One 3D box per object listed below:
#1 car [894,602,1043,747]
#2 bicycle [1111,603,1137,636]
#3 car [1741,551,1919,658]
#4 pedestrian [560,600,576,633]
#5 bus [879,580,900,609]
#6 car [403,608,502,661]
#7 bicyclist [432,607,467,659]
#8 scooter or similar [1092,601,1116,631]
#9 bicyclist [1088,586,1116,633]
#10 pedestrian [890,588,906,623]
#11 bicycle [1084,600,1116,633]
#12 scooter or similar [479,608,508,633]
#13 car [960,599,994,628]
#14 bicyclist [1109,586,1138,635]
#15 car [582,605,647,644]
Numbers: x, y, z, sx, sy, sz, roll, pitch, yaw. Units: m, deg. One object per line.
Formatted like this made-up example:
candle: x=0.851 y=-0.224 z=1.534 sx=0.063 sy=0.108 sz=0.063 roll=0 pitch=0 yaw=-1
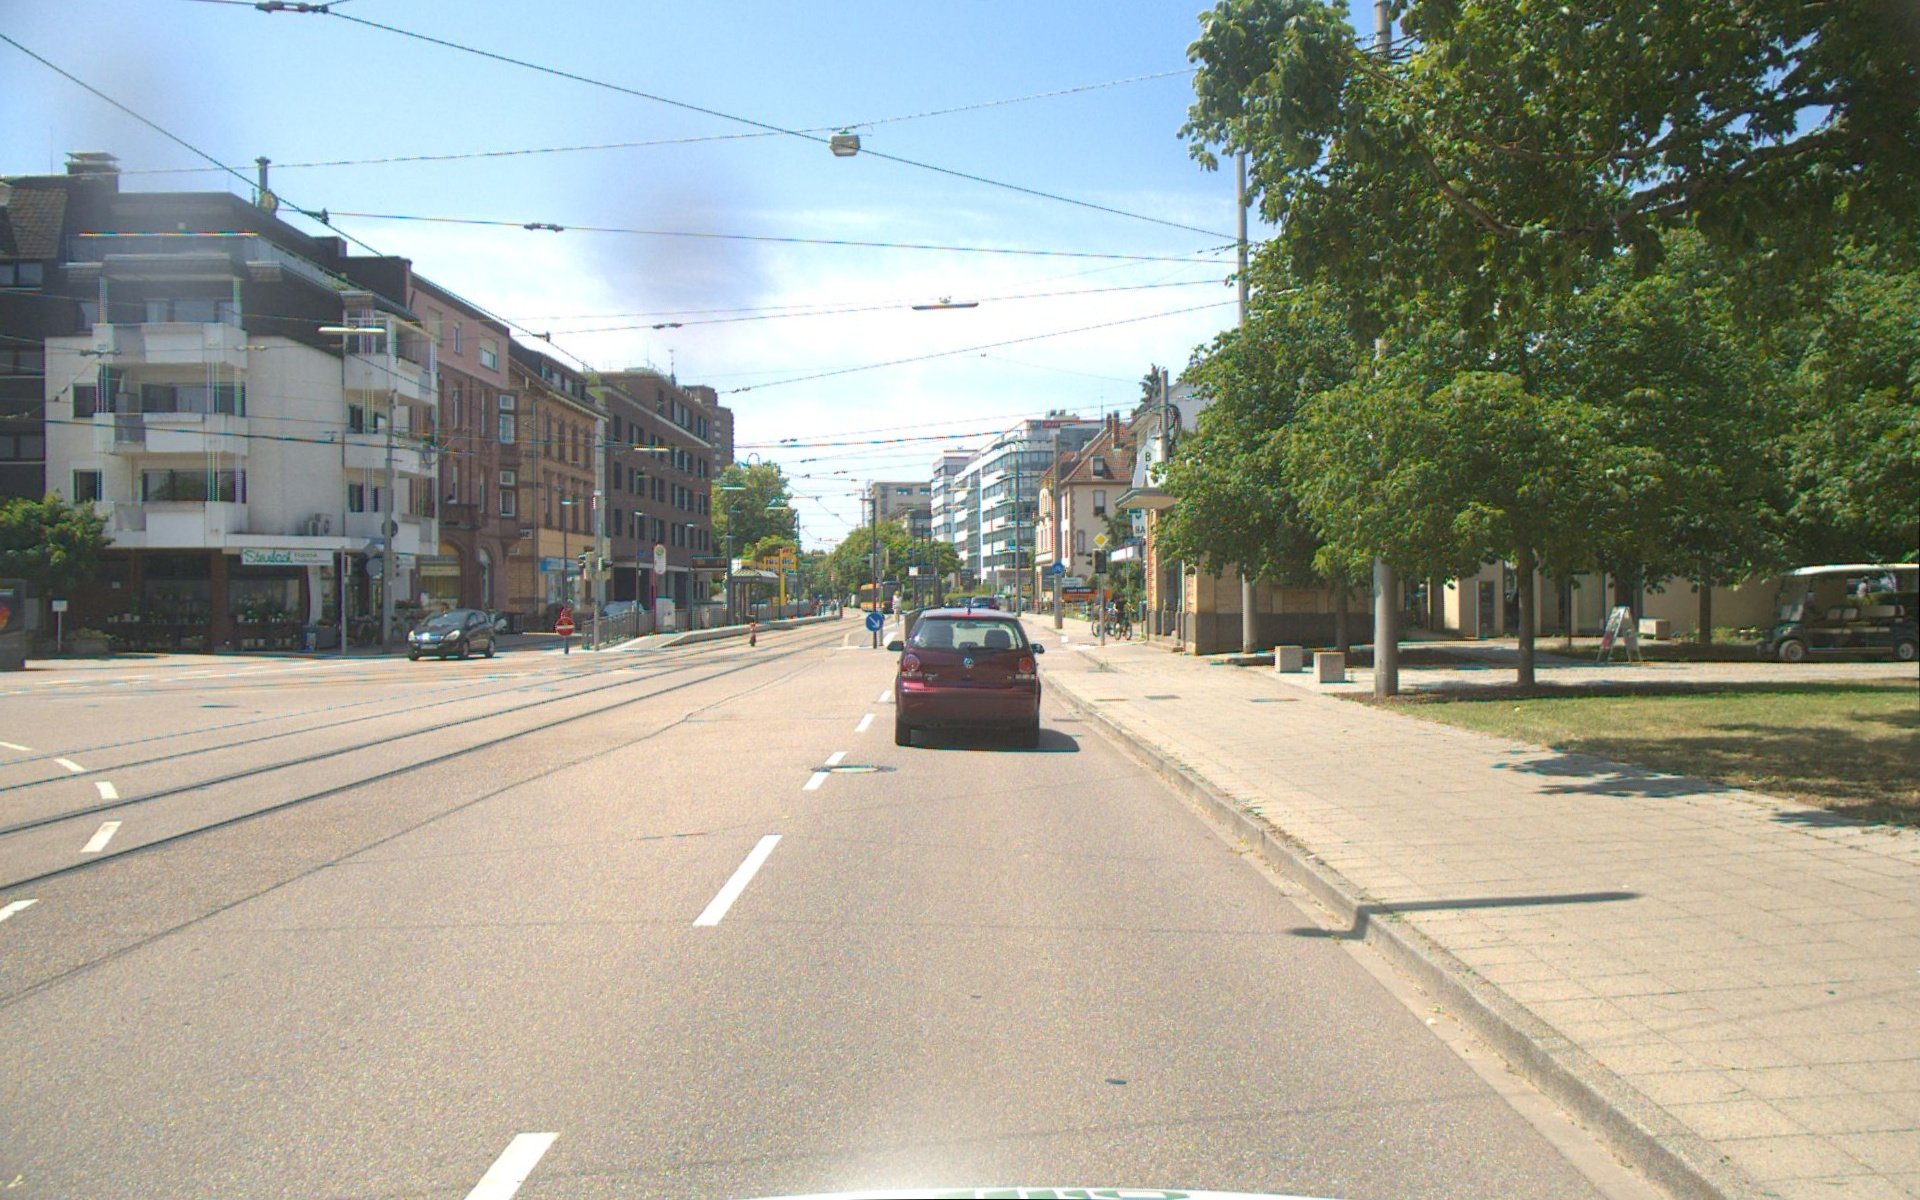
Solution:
car: x=0.083 y=0.783 z=18.851 sx=1.529 sy=1.479 sz=3.061 roll=-1 pitch=0 yaw=0
bicycle: x=5.762 y=0.686 z=58.166 sx=0.655 sy=1.019 sz=1.864 roll=-5 pitch=2 yaw=1
car: x=17.792 y=0.101 z=33.435 sx=3.263 sy=2.049 sz=1.464 roll=-1 pitch=-1 yaw=0
pedestrian: x=-19.412 y=0.801 z=81.819 sx=0.602 sy=1.588 sz=0.640 roll=-1 pitch=0 yaw=0
bus: x=-7.687 y=-0.561 z=180.708 sx=2.101 sy=3.055 sz=6.572 roll=-1 pitch=0 yaw=-1
car: x=-15.210 y=0.997 z=49.745 sx=1.674 sy=1.464 sz=3.866 roll=-1 pitch=0 yaw=2
bicyclist: x=-17.700 y=1.137 z=57.396 sx=0.716 sy=1.793 sz=1.136 roll=-1 pitch=0 yaw=7
scooter or similar: x=5.858 y=0.651 z=67.406 sx=0.335 sy=1.198 sz=1.457 roll=-1 pitch=0 yaw=-23
bicyclist: x=5.452 y=0.363 z=63.435 sx=0.714 sy=1.791 sz=0.921 roll=-1 pitch=0 yaw=32
pedestrian: x=-3.105 y=0.268 z=82.799 sx=0.747 sy=1.704 sz=1.100 roll=-1 pitch=0 yaw=1
bicycle: x=5.378 y=0.633 z=63.421 sx=0.368 sy=1.218 sz=1.901 roll=-1 pitch=0 yaw=31
scooter or similar: x=-21.268 y=0.915 z=75.461 sx=0.477 sy=1.101 sz=1.578 roll=-1 pitch=0 yaw=17
car: x=1.008 y=0.813 z=99.243 sx=1.953 sy=1.653 sz=4.631 roll=-1 pitch=0 yaw=0
bicyclist: x=5.747 y=0.358 z=58.198 sx=0.815 sy=1.646 sz=0.860 roll=-4 pitch=2 yaw=0
car: x=-15.341 y=1.061 z=73.706 sx=1.756 sy=1.607 sz=4.496 roll=-1 pitch=0 yaw=2
